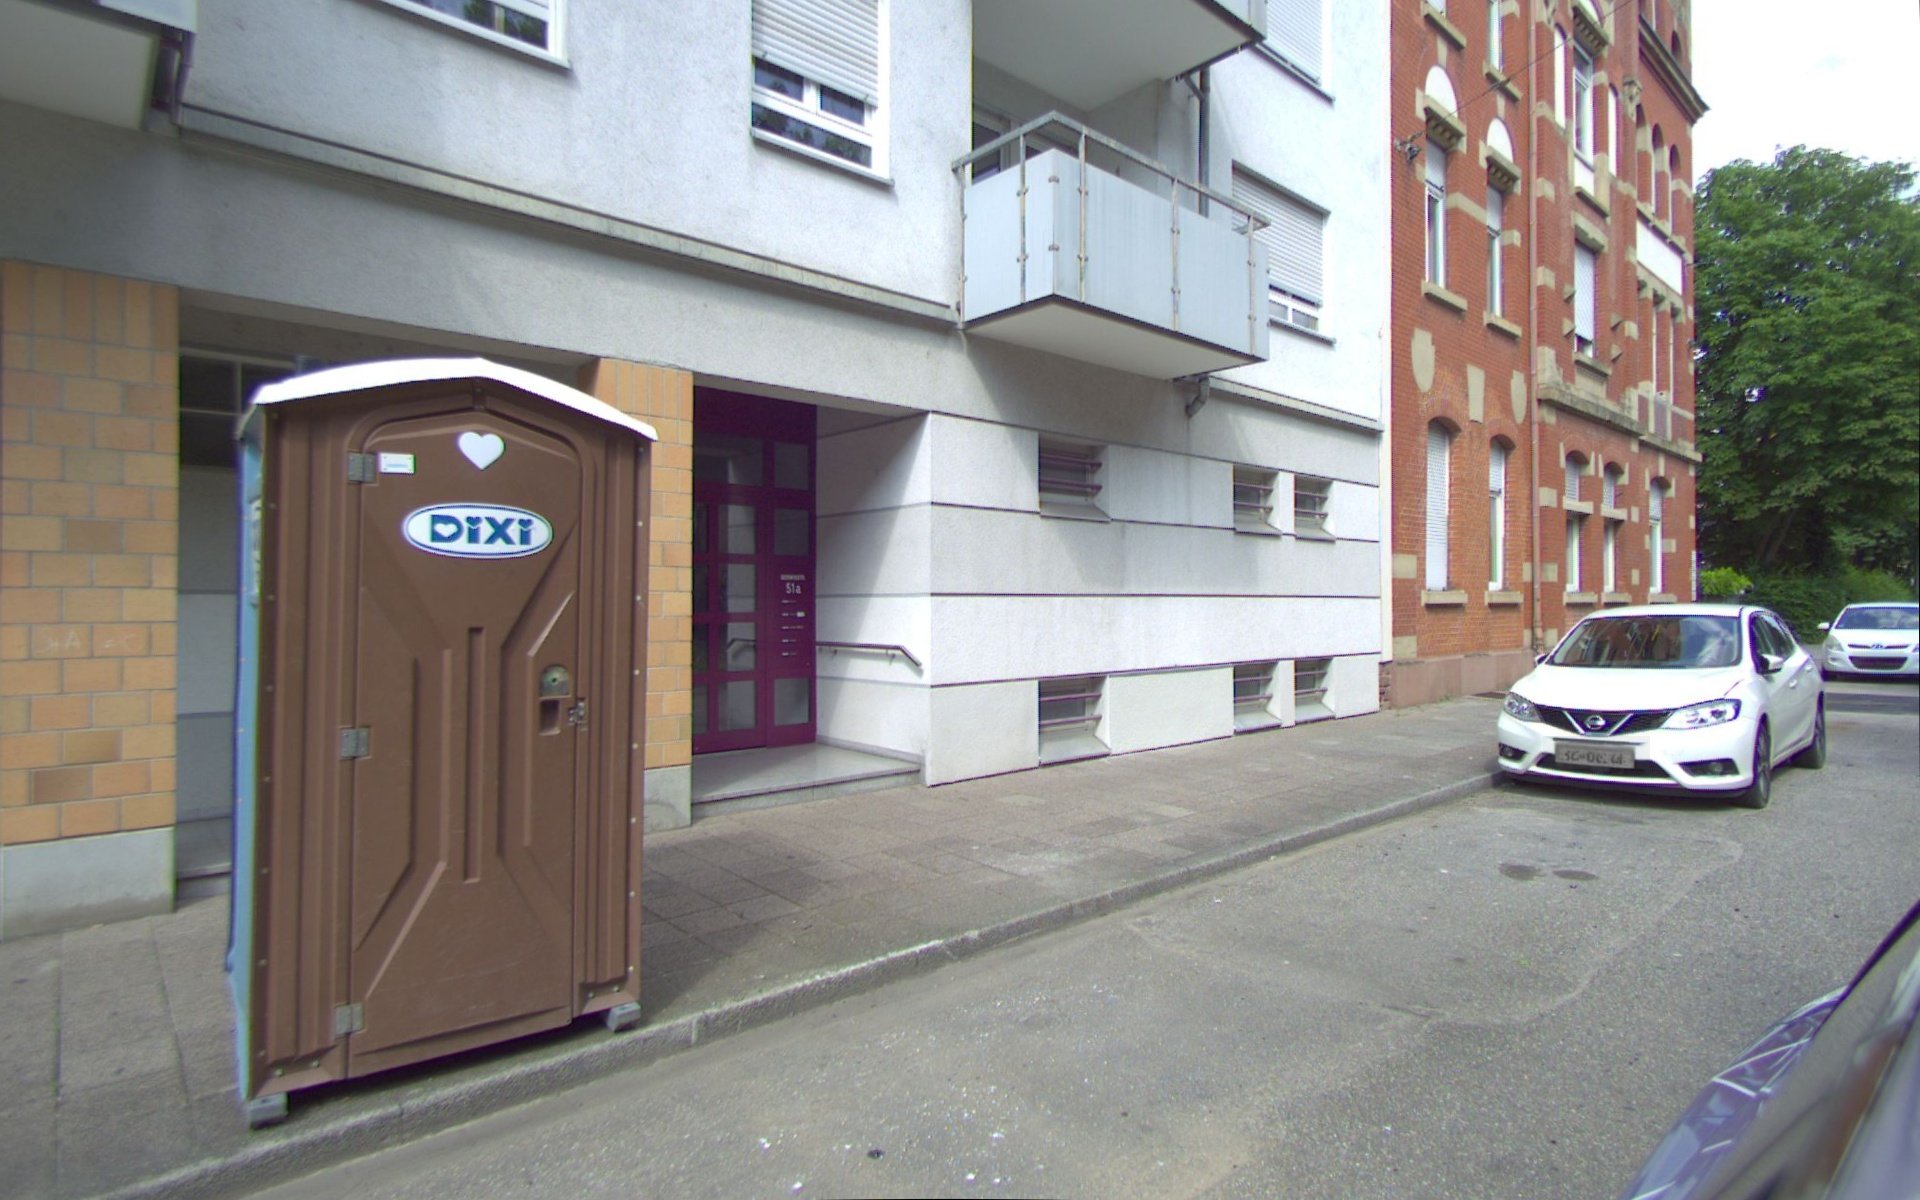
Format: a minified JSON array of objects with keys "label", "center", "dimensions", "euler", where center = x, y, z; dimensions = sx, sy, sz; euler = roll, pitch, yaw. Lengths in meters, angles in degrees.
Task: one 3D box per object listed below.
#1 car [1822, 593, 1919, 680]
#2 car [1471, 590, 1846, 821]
[{"label":"car","center":[18.190,0.646,19.565],"dimensions":[3.971,1.549,1.799],"euler":[0,-1,-42]},{"label":"car","center":[6.187,0.717,8.794],"dimensions":[3.971,1.549,1.799],"euler":[0,-1,-42]}]
